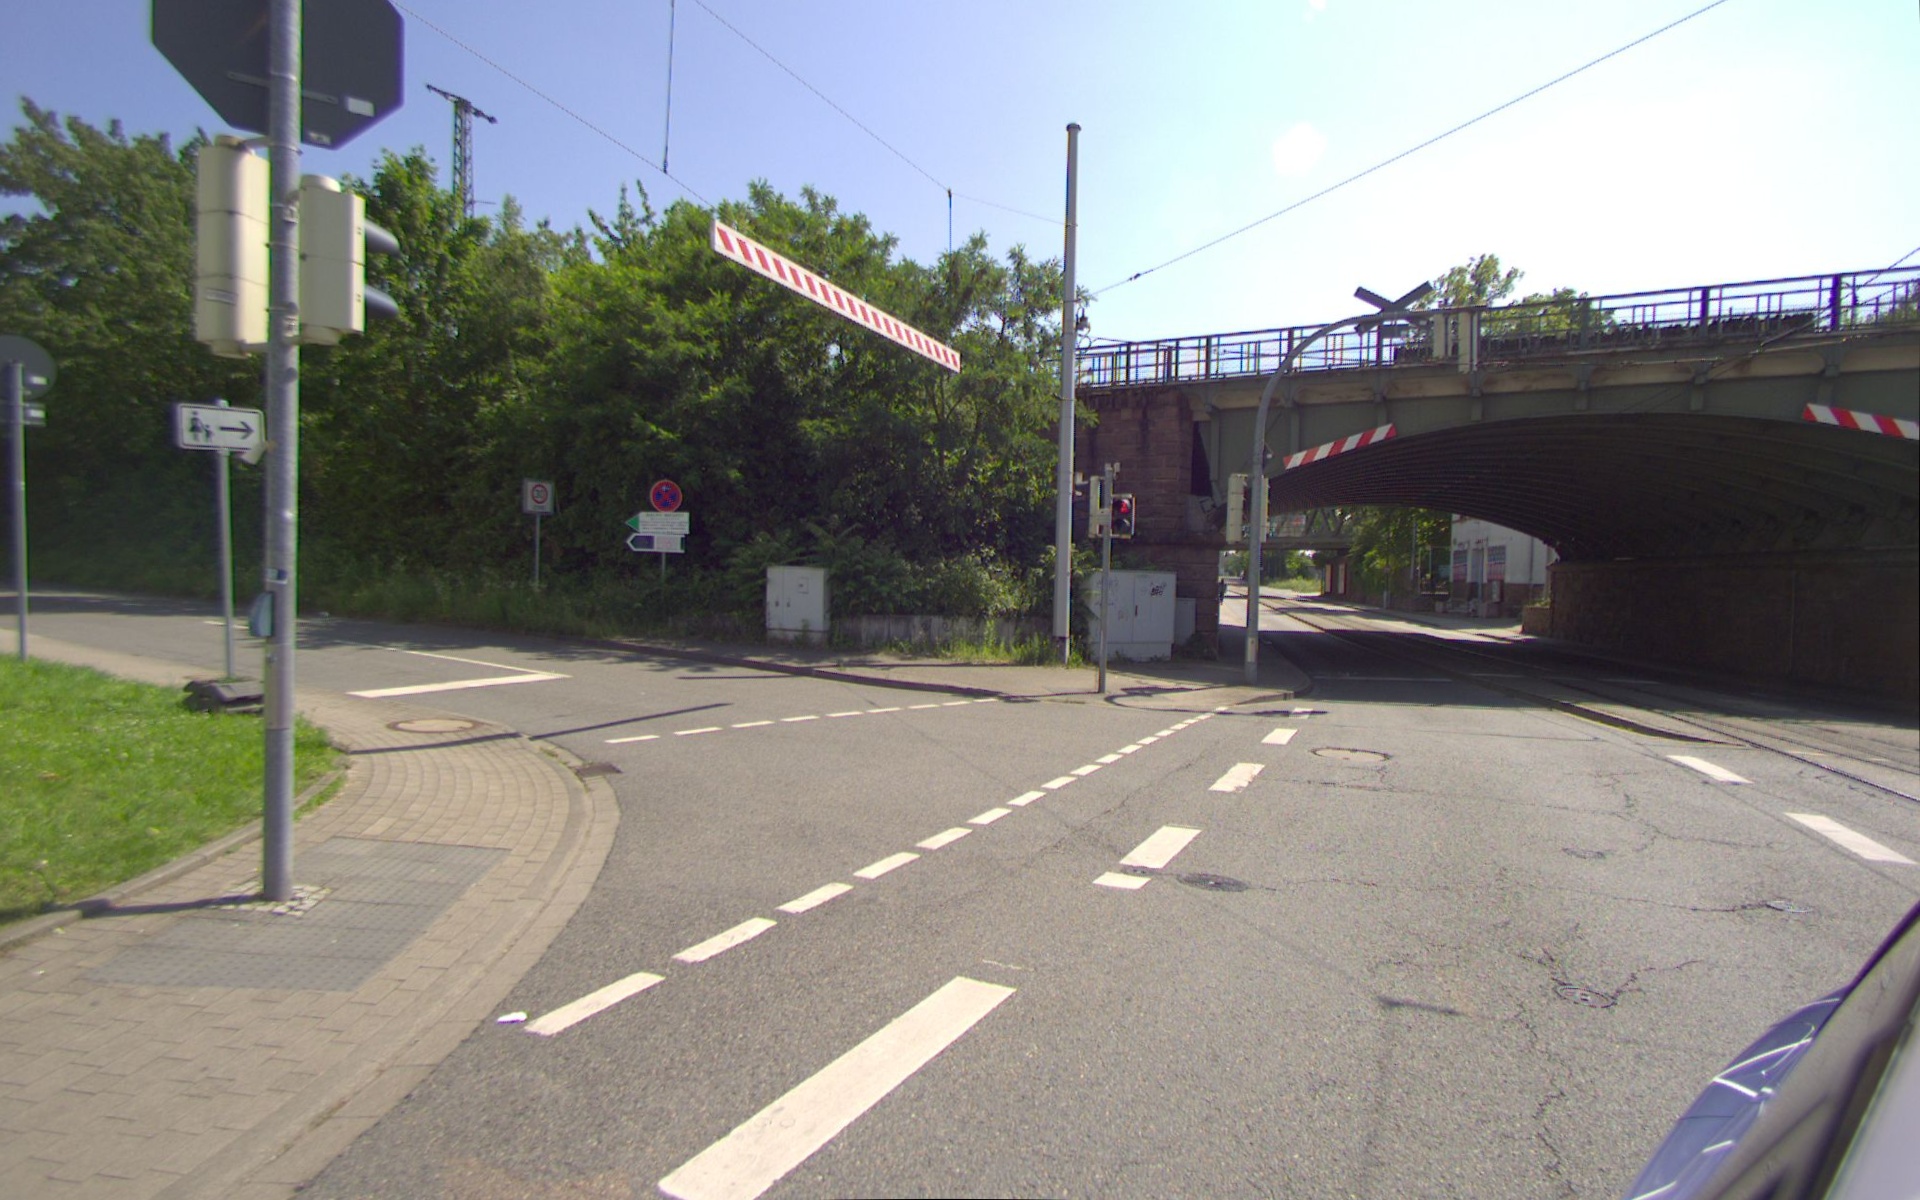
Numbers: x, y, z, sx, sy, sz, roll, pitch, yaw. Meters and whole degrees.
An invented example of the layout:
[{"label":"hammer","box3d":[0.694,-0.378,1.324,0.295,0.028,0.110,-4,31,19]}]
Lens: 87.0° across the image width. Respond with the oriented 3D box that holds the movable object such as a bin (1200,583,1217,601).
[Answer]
[{"label":"movable object such as a bin","box3d":[16.719,-0.545,68.031,1.024,1.177,0.971,2,1,12]}]
